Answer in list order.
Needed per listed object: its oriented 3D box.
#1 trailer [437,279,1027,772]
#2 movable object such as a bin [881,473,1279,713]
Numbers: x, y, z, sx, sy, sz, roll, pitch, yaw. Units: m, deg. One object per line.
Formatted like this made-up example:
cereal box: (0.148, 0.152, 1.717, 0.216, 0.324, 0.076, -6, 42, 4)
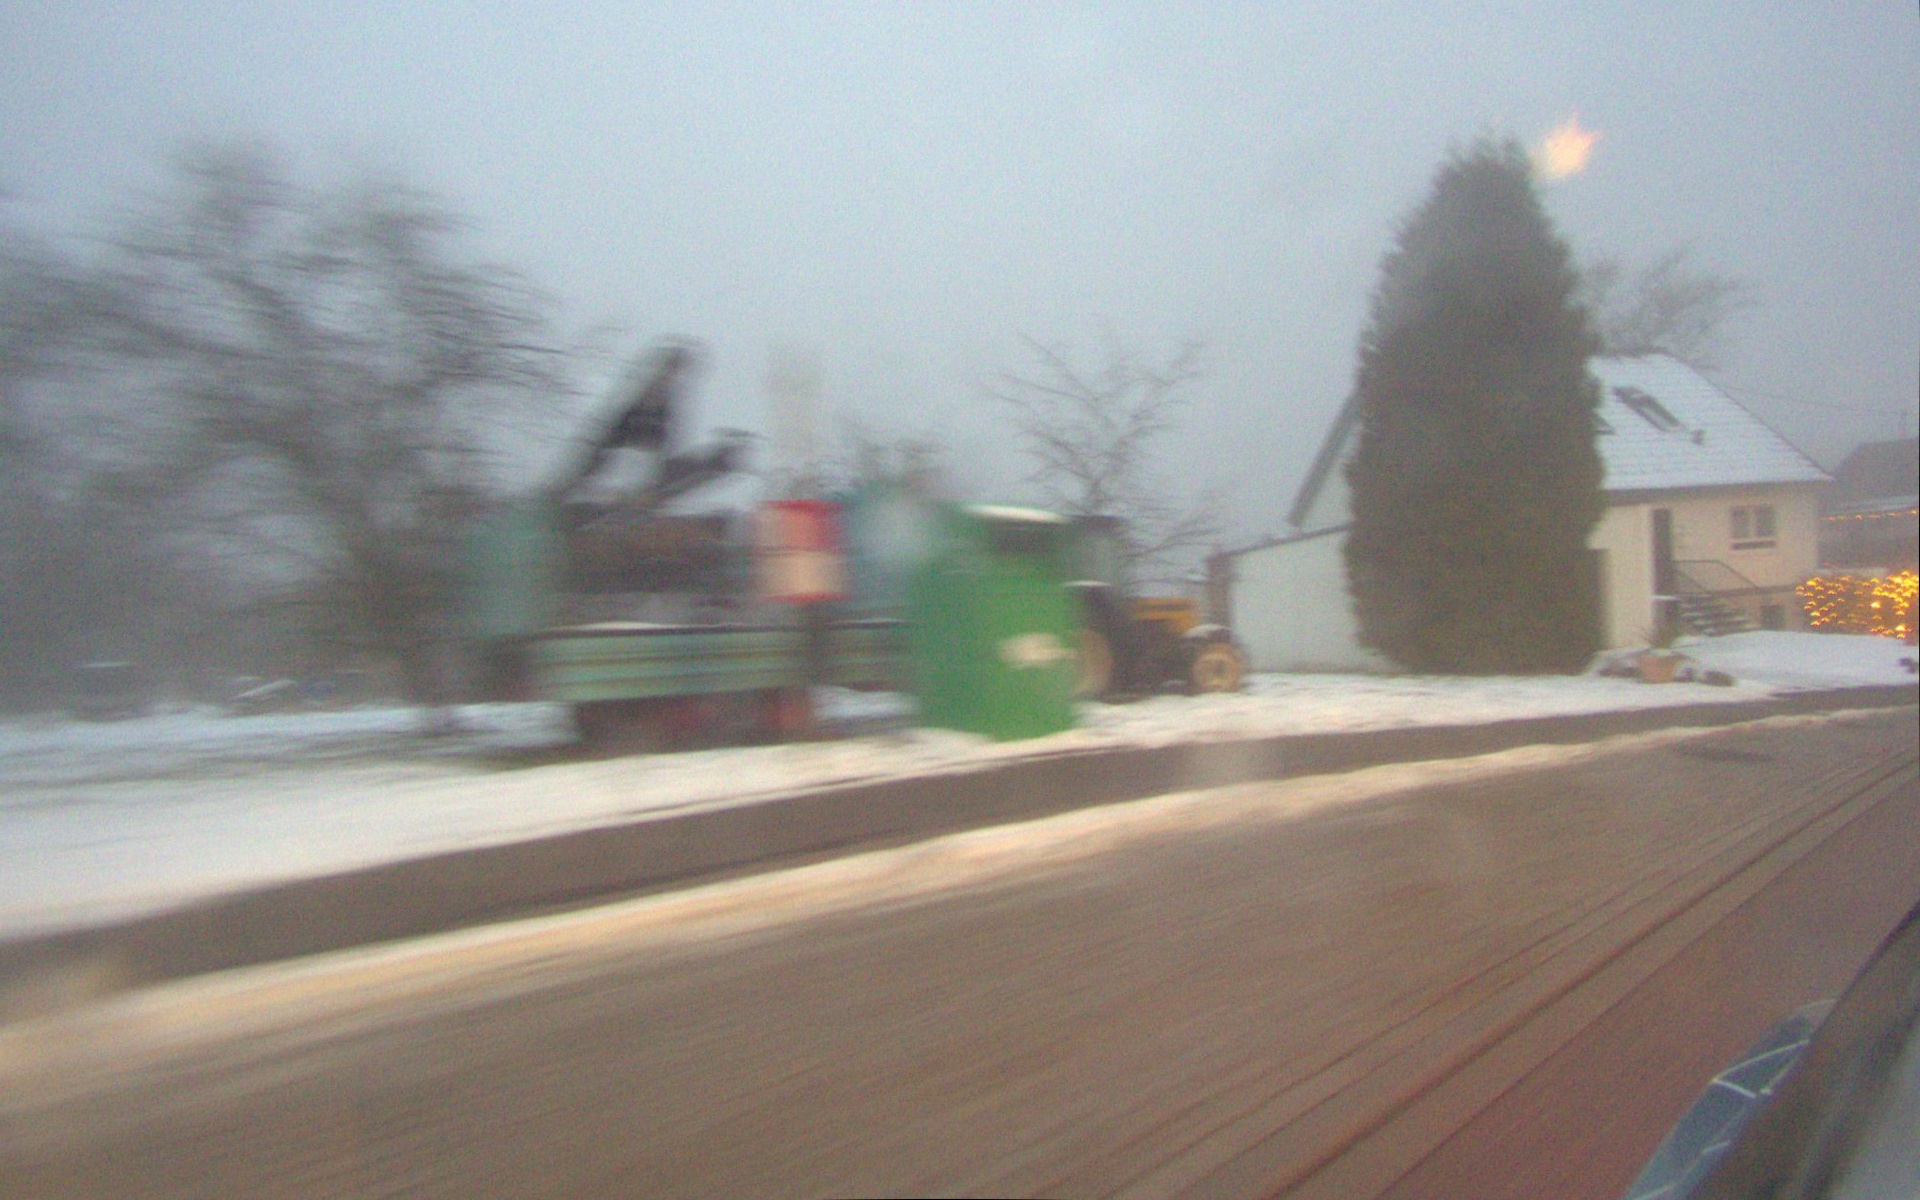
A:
trailer: (-2.160, -0.604, 10.096, 4.970, 3.605, 2.882, -1, 1, -38)
movable object such as a bin: (1.537, -0.130, 12.719, 4.427, 2.499, 2.396, -1, 1, -32)
